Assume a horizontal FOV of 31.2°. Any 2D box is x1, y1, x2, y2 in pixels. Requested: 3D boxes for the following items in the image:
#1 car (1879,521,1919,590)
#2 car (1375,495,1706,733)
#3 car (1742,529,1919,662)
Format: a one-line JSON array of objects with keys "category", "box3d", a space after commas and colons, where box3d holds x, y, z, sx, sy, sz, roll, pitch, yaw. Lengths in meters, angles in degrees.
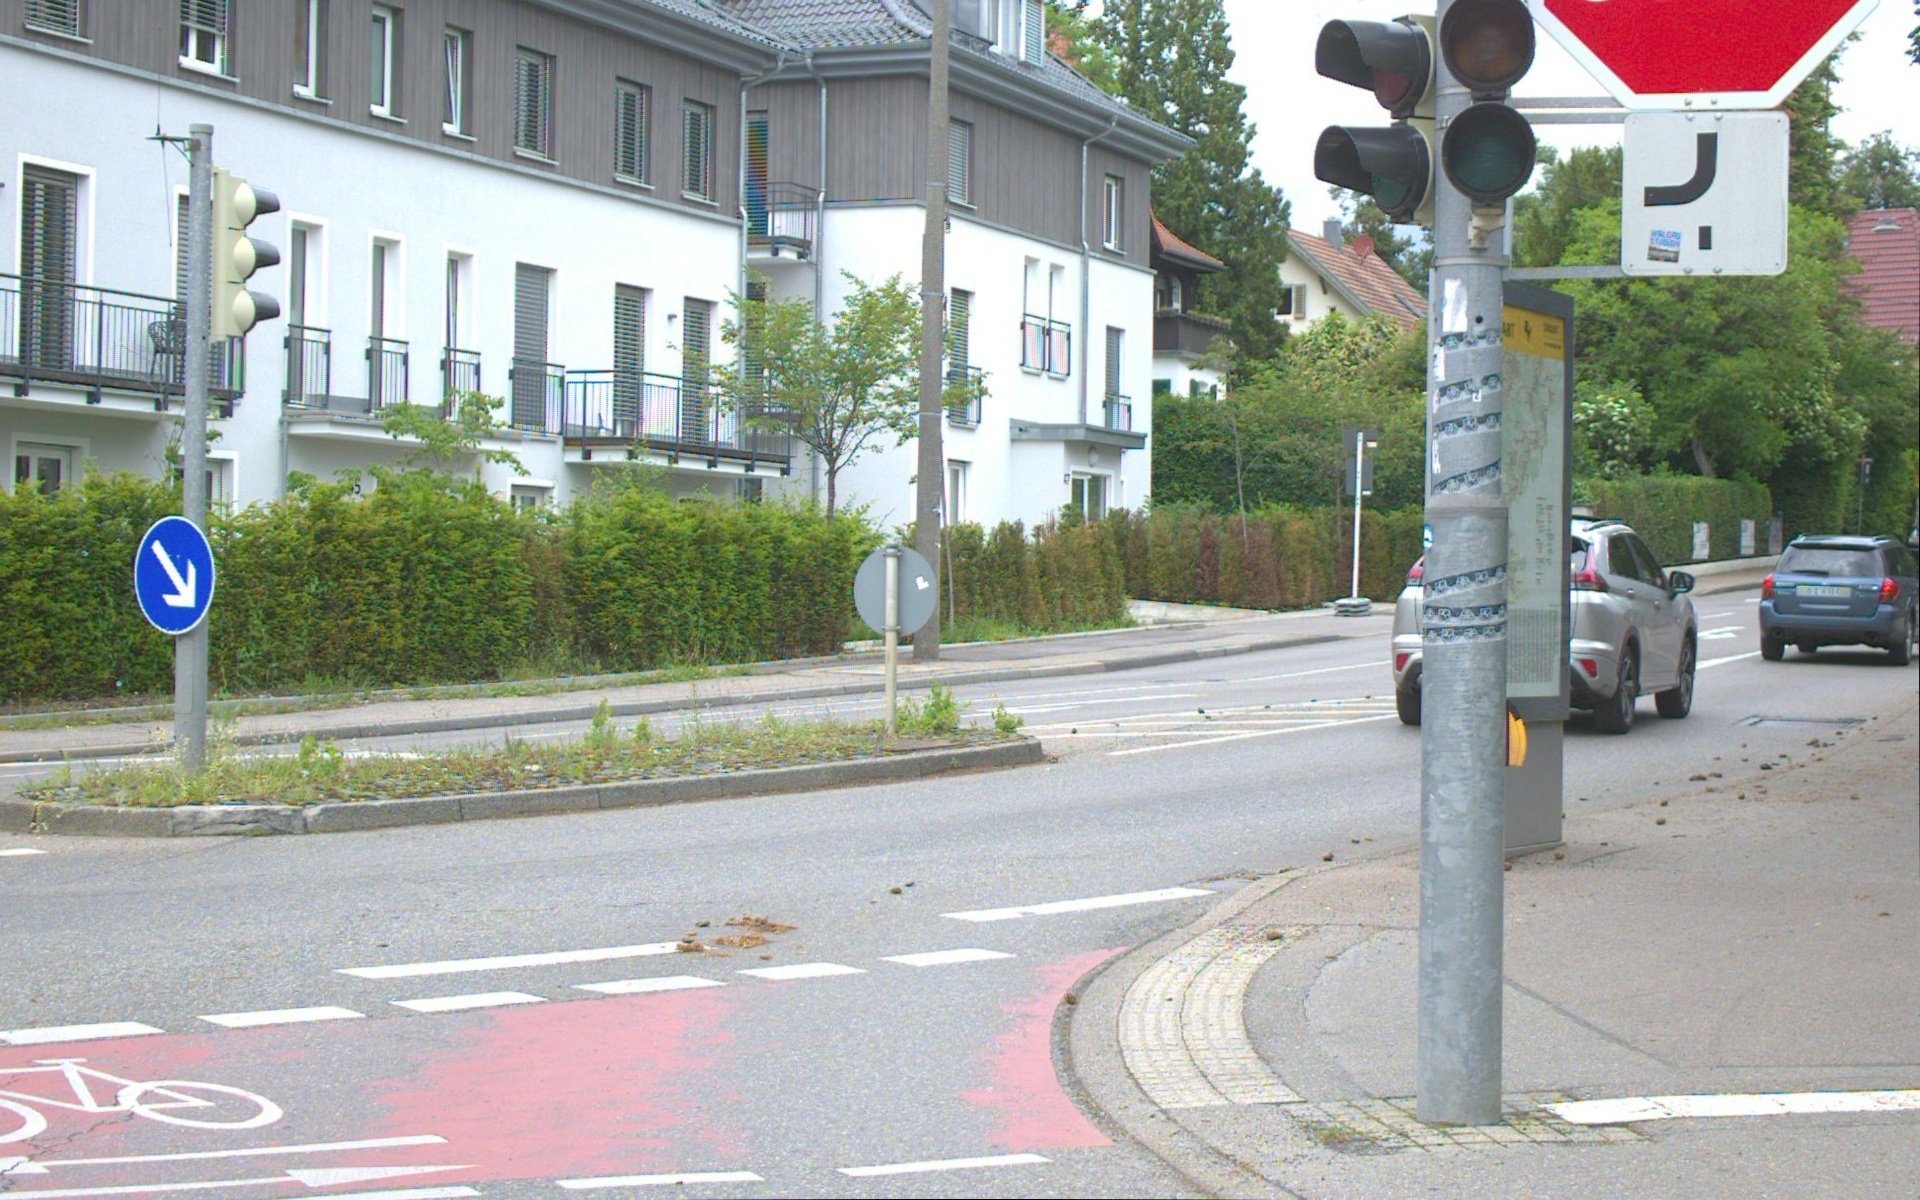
[{"category": "car", "box3d": [27.333, -1.263, 97.406, 1.914, 1.874, 5.136, -1, 0, 22]}, {"category": "car", "box3d": [4.769, 0.065, 27.747, 1.809, 1.747, 4.482, 0, 1, 20]}, {"category": "car", "box3d": [10.808, -0.092, 41.822, 1.802, 1.522, 4.738, 0, 1, 22]}]
